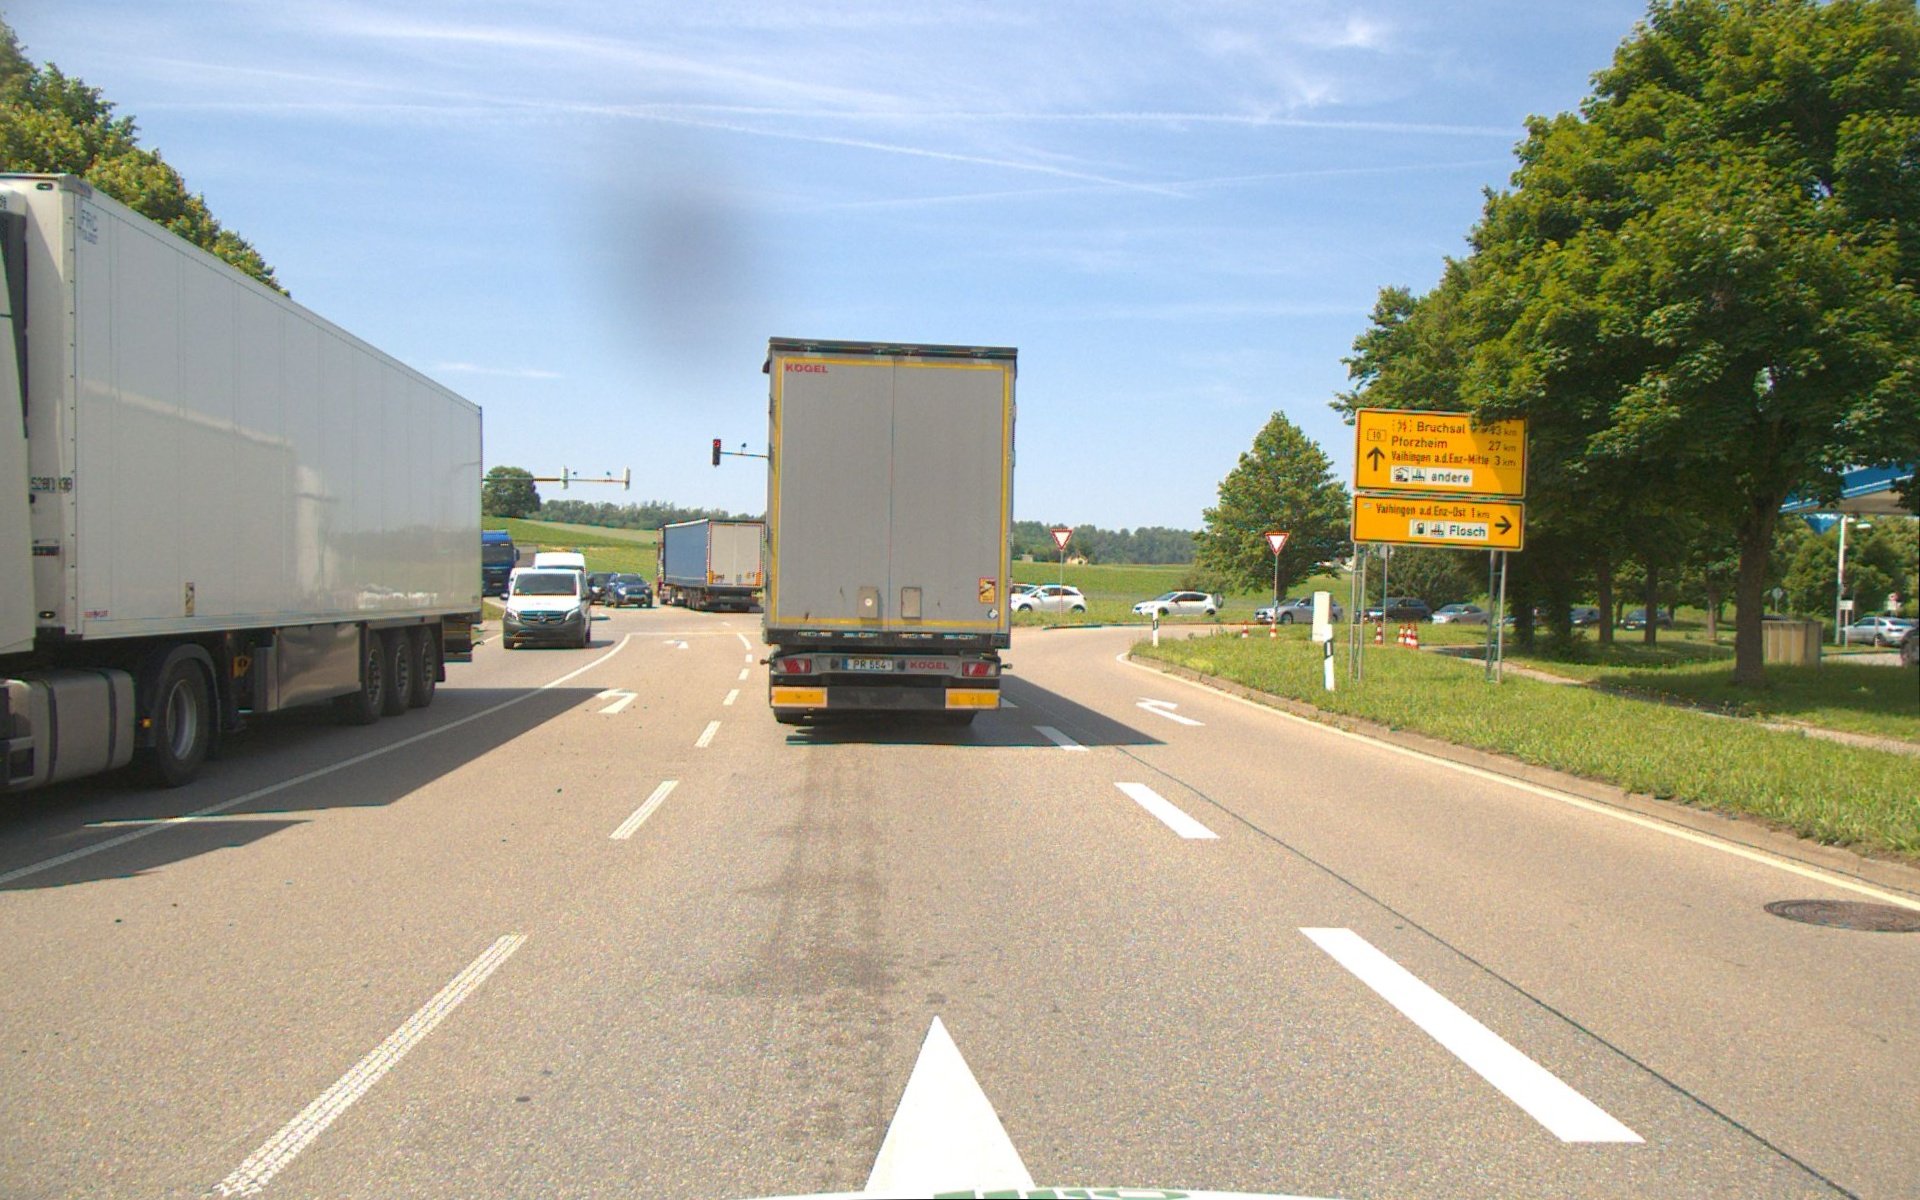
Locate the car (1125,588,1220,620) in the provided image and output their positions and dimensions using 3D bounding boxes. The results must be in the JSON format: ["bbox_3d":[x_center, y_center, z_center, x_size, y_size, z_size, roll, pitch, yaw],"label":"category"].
[{"bbox_3d":[9.760,0.198,75.949,4.038,1.444,1.788,1,-1,-24],"label":"car"}]

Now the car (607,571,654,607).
[{"bbox_3d":[-16.042,-0.540,80.498,1.744,1.687,3.978,0,1,-19],"label":"car"}]

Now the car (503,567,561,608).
[{"bbox_3d":[-20.899,-0.620,80.585,1.847,1.919,4.911,0,1,-25],"label":"car"}]

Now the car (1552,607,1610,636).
[{"bbox_3d":[35.528,1.238,94.620,1.768,1.536,4.209,0,-1,41],"label":"car"}]

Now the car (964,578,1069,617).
[{"bbox_3d":[2.603,-0.122,77.258,4.544,1.635,1.993,2,-1,-12],"label":"car"}]

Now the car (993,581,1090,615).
[{"bbox_3d":[3.606,-0.061,73.310,3.896,1.444,1.819,1,-1,-17],"label":"car"}]

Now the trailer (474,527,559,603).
[{"bbox_3d":[-26.121,-2.053,96.816,2.534,4.100,13.487,0,1,-25],"label":"trailer"}]

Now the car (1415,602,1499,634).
[{"bbox_3d":[25.741,0.947,85.592,4.509,1.536,1.779,2,-1,-35],"label":"car"}]

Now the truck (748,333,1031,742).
[{"bbox_3d":[-1.081,-0.628,21.258,2.753,4.015,9.581,1,0,-5],"label":"truck"}]

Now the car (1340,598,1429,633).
[{"bbox_3d":[20.966,0.772,81.689,4.510,1.536,1.778,3,-2,-36],"label":"car"}]

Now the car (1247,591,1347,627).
[{"bbox_3d":[15.966,0.458,78.383,4.492,1.536,1.785,2,-1,-27],"label":"car"}]

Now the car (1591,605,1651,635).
[{"bbox_3d":[40.034,1.236,100.118,1.966,1.727,4.262,0,-1,43],"label":"car"}]

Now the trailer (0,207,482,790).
[{"bbox_3d":[-7.581,-0.767,17.628,2.724,4.173,11.645,1,0,-6],"label":"trailer"}]

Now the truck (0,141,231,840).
[{"bbox_3d":[-6.916,-0.635,10.089,2.723,4.012,5.701,0,0,-4],"label":"truck"}]

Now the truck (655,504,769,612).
[{"bbox_3d":[-12.256,-1.972,80.146,2.915,4.664,16.234,0,1,-18],"label":"truck"}]

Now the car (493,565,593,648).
[{"bbox_3d":[-10.169,0.125,40.684,1.838,1.897,5.132,0,1,-8],"label":"car"}]

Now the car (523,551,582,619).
[{"bbox_3d":[-15.758,-0.591,63.853,2.018,2.494,5.246,0,1,-16],"label":"car"}]

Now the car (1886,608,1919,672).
[{"bbox_3d":[25.529,1.026,42.402,1.989,1.631,4.943,0,-1,16],"label":"car"}]

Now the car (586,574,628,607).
[{"bbox_3d":[-18.387,-0.506,86.068,1.744,1.687,3.979,0,1,-18],"label":"car"}]
